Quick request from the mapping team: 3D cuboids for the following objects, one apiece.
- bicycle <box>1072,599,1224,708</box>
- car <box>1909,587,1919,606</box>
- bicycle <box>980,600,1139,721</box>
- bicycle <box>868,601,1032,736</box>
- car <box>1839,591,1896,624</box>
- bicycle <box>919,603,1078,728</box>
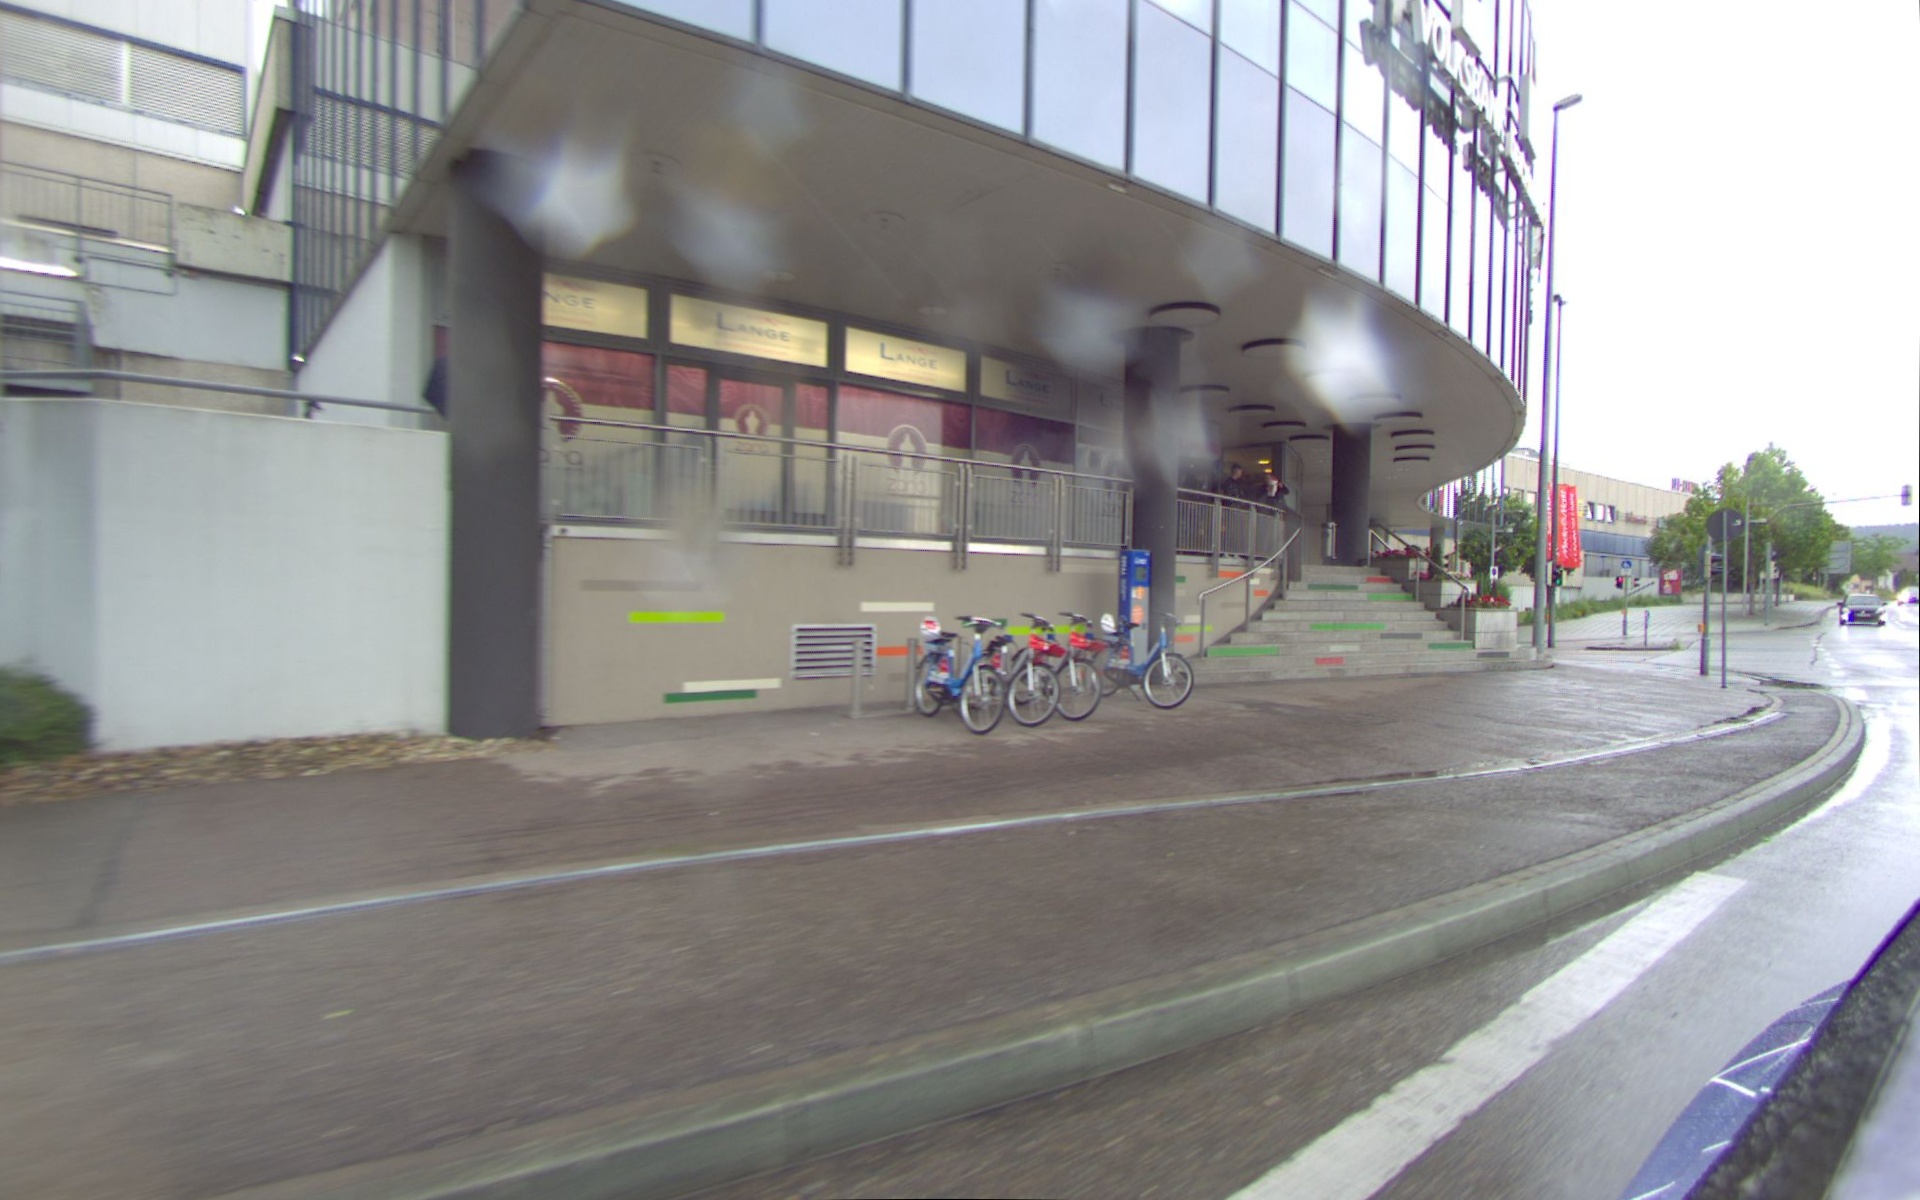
[{"bbox_3d":[2.250,0.604,12.336,0.681,1.124,1.836,0,3,-36],"label":"bicycle"},{"bbox_3d":[85.934,-0.281,90.386,3.581,1.660,1.580,1,1,-45],"label":"car"},{"bbox_3d":[1.058,0.620,11.220,0.681,1.124,1.816,1,2,-36],"label":"bicycle"},{"bbox_3d":[-0.147,0.633,10.179,0.681,1.124,1.816,1,2,-36],"label":"bicycle"},{"bbox_3d":[45.237,0.385,50.414,3.935,1.545,1.897,1,1,-45],"label":"car"},{"bbox_3d":[0.365,0.633,10.643,0.672,1.098,1.807,0,3,-36],"label":"bicycle"}]
